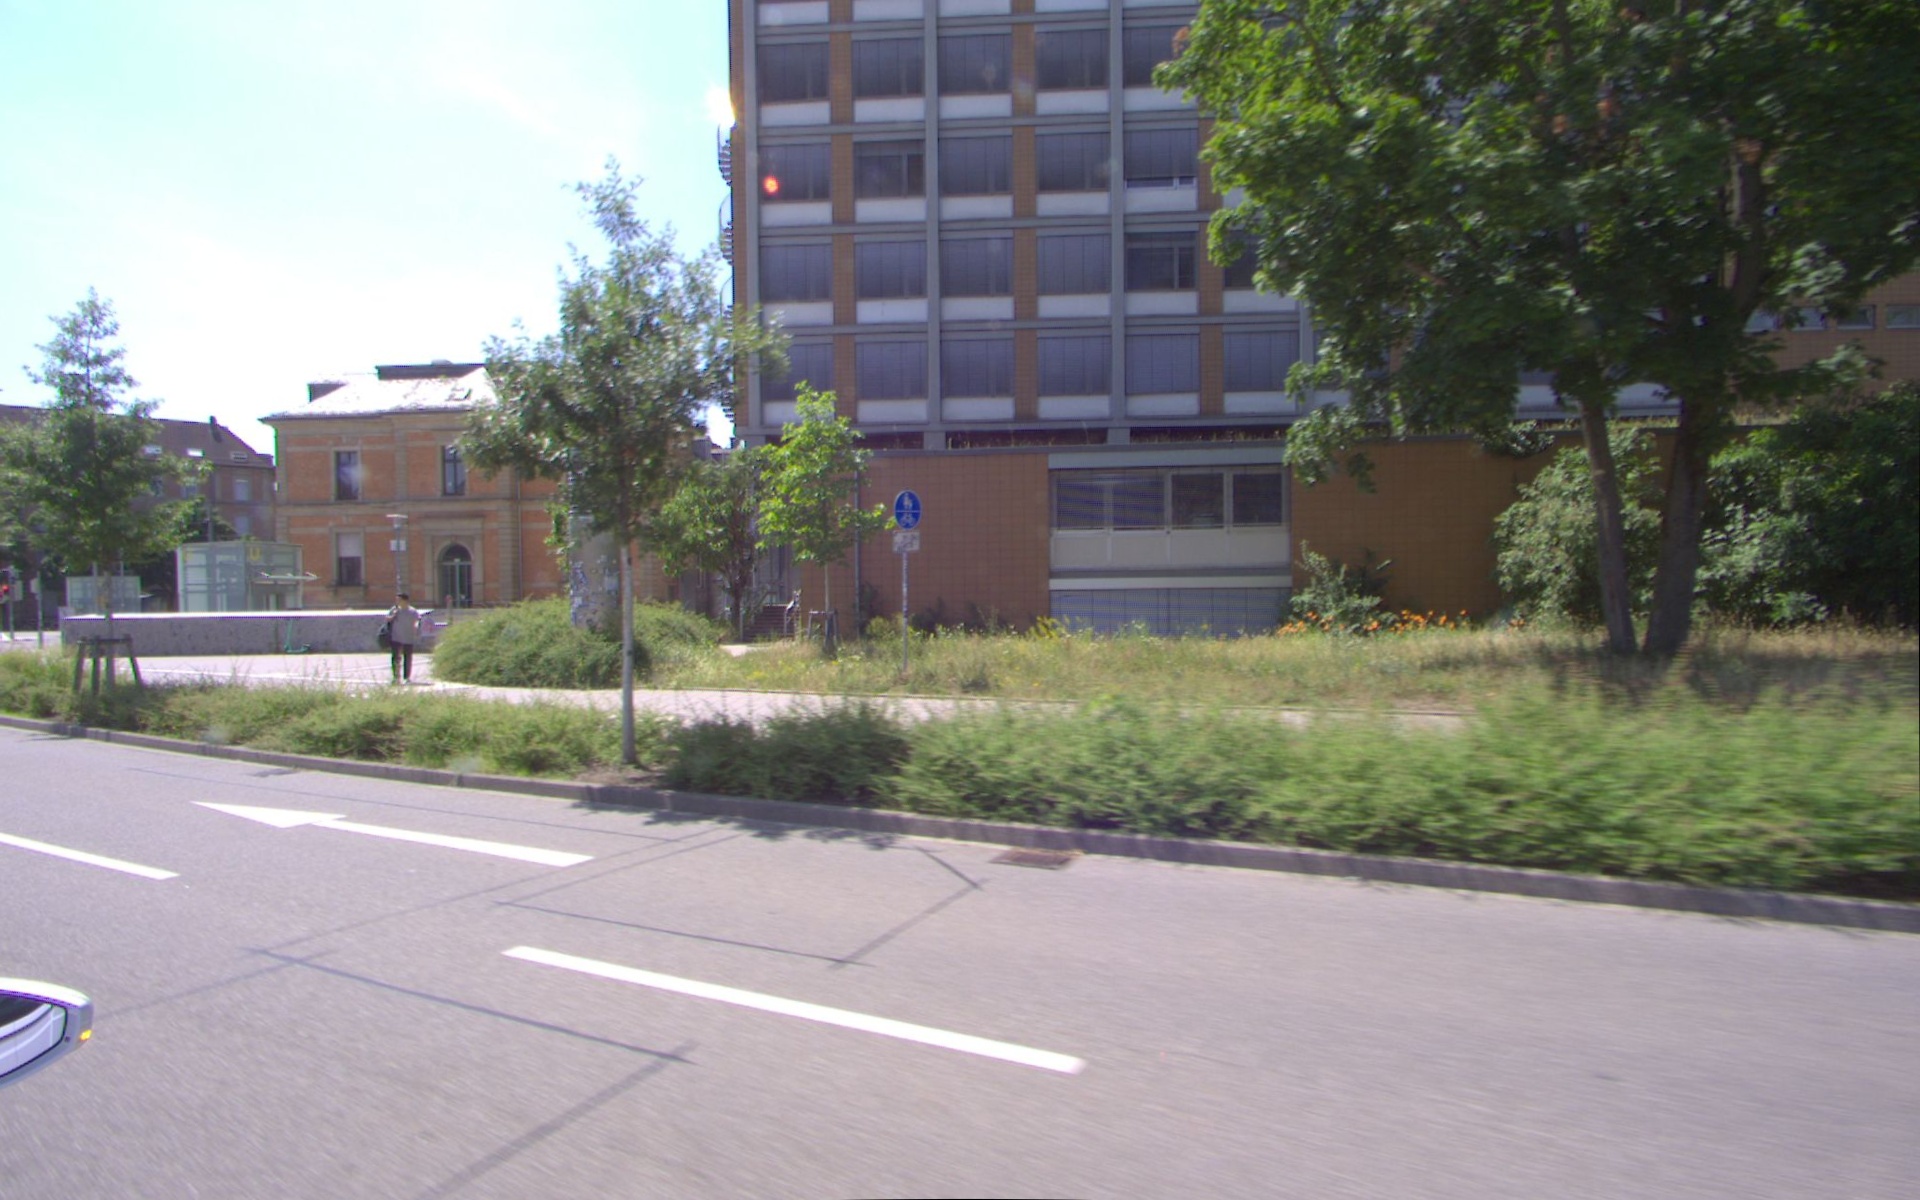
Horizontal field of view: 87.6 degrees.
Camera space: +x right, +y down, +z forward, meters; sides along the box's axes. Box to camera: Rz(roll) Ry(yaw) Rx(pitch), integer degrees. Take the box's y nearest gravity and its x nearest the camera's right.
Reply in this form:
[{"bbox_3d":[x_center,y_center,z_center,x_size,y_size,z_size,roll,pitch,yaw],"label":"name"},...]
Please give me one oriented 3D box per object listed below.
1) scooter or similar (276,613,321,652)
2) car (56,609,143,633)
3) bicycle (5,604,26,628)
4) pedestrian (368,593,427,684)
[{"bbox_3d":[-20.871,1.029,31.574,1.265,1.183,0.397,2,1,12],"label":"scooter or similar"},{"bbox_3d":[-56.597,1.356,65.973,1.666,1.470,4.110,2,0,15],"label":"car"},{"bbox_3d":[-76.323,1.297,80.909,3.137,1.812,0.610,2,1,35],"label":"bicycle"},{"bbox_3d":[-10.905,0.736,19.425,0.799,1.728,0.730,0,0,36],"label":"pedestrian"}]
